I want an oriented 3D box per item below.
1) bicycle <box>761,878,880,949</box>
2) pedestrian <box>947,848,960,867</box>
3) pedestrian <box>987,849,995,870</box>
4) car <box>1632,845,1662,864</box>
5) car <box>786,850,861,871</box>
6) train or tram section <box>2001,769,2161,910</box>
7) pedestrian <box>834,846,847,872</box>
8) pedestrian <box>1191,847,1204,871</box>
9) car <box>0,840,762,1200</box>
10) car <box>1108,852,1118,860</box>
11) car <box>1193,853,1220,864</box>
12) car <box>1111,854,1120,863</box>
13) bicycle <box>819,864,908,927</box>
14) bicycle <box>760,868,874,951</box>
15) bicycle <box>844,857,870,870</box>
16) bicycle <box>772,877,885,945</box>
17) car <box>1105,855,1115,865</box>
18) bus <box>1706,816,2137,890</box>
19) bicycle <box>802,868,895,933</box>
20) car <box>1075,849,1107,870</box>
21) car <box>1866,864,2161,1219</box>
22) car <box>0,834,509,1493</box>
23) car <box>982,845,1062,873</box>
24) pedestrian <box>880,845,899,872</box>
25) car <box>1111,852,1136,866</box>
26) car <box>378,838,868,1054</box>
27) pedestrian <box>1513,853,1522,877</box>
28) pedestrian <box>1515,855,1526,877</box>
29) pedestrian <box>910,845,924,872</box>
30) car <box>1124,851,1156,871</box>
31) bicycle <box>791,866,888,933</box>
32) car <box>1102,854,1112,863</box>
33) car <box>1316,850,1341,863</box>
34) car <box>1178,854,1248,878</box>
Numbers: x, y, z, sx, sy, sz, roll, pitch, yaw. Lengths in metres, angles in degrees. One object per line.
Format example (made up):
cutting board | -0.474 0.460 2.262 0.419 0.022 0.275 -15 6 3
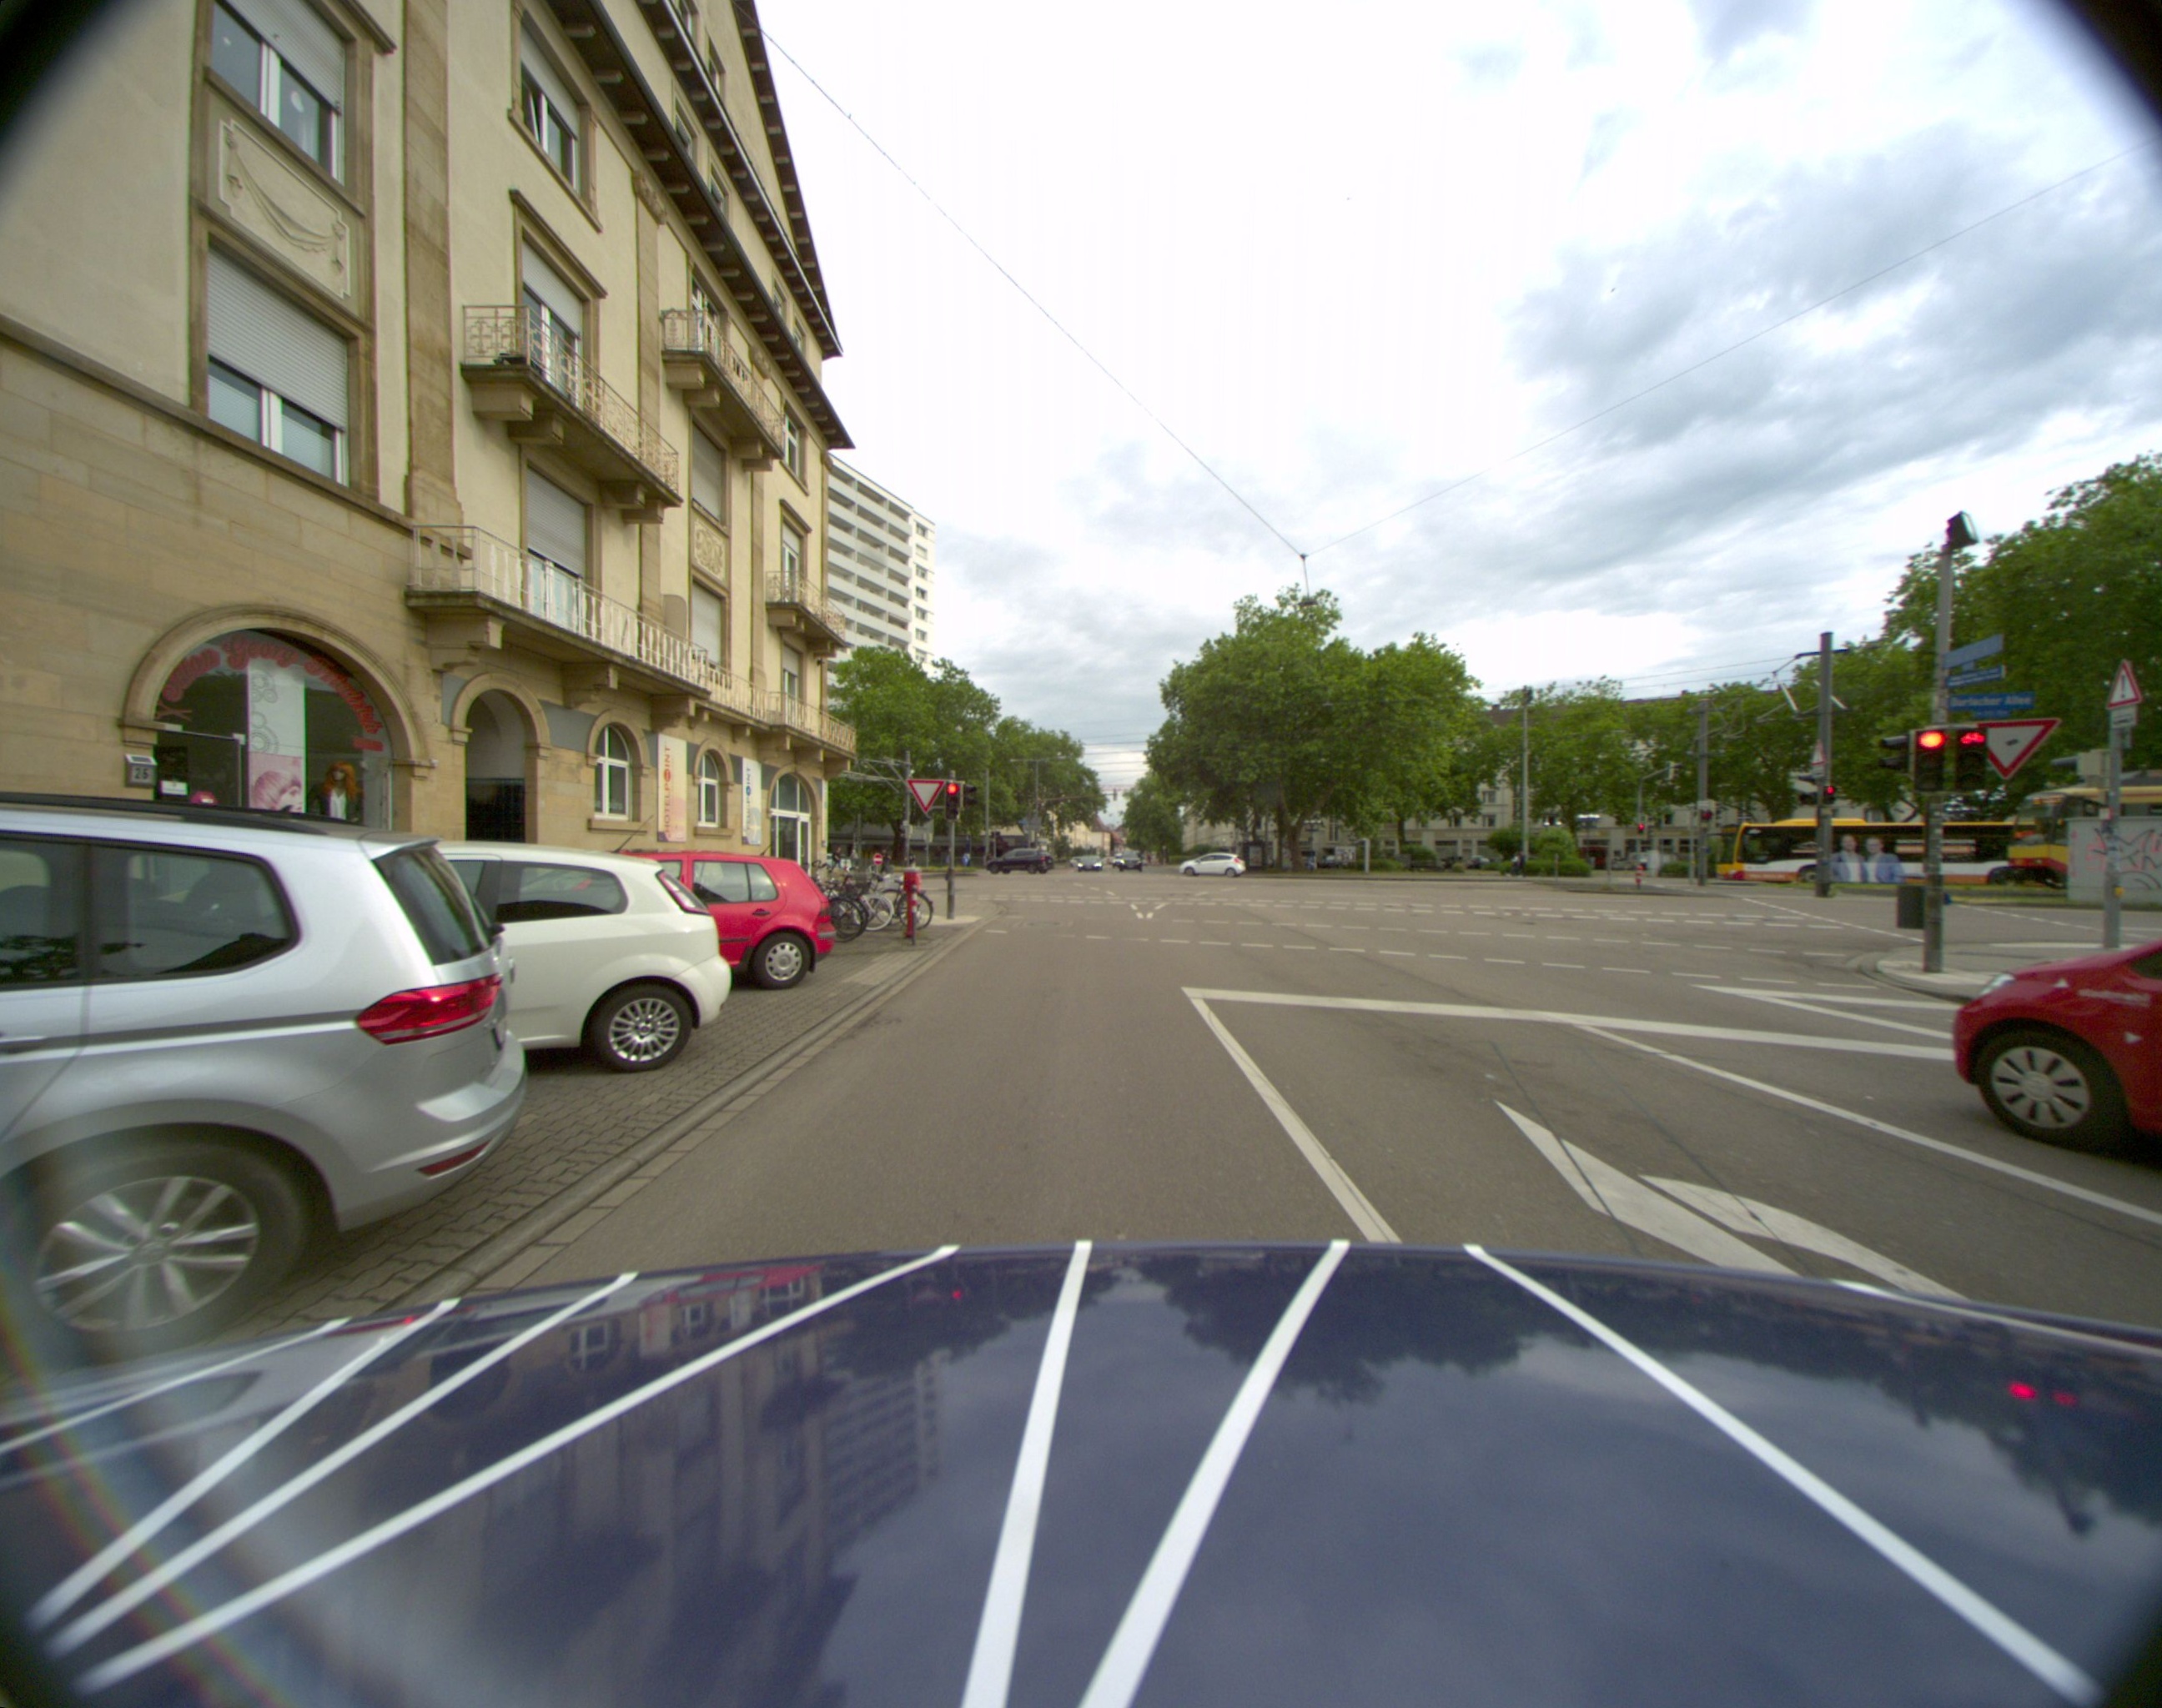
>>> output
bicycle | -4.186 0.953 12.259 1.737 1.033 0.476 2 2 0
pedestrian | -10.537 0.295 62.767 0.851 1.500 0.555 0 2 26
pedestrian | -6.911 0.430 58.368 0.524 1.603 0.526 -1 2 -7
car | 62.553 0.061 84.044 1.995 2.002 4.007 0 1 28
car | -19.677 0.486 57.990 5.688 1.516 1.850 0 -1 24
train or tram section | 37.223 -0.512 20.849 14.999 4.070 3.660 0 2 27
pedestrian | -16.332 0.311 51.638 0.547 1.741 0.623 0 2 26
pedestrian | 9.187 0.397 59.835 0.690 1.876 0.687 -2 2 -28
car | -4.236 0.763 4.873 3.596 1.500 1.843 2 1 -41
car | 8.758 0.468 208.511 1.996 2.002 4.004 -1 2 16
car | 17.353 0.591 105.243 1.804 1.477 3.991 -1 1 -24
car | 8.686 1.144 192.537 1.998 2.002 4.000 -1 2 6
bicycle | -4.224 0.795 14.793 1.571 1.121 0.476 2 2 0
bicycle | -4.064 0.847 11.742 1.571 1.166 0.476 2 2 0
bicycle | -18.177 0.770 61.657 1.987 1.058 0.731 0 -1 26
bicycle | -4.272 0.961 12.909 1.737 1.033 0.476 2 2 0
car | 6.103 1.245 160.559 1.998 2.002 3.999 -1 2 2
bus | 35.774 -0.058 33.419 12.348 2.840 3.297 0 2 26
bicycle | -4.359 0.864 14.294 1.571 1.121 0.476 2 2 0
car | 0.916 0.478 66.142 1.660 1.708 3.746 0 -2 19
car | 5.484 0.829 2.566 1.653 1.519 3.894 1 0 1
car | -4.293 0.777 2.080 4.232 1.673 1.911 1 1 -33
car | -3.958 0.341 50.720 5.136 1.773 1.710 0 2 26
pedestrian | -12.418 0.283 49.309 0.876 1.686 0.744 0 2 26
car | 5.425 0.626 95.807 1.996 1.654 4.838 0 0 17
car | -4.374 0.740 7.648 1.789 1.552 3.843 4 1 45
pedestrian | 26.281 0.650 45.738 0.373 1.470 0.362 0 1 19
pedestrian | 26.225 0.727 45.336 0.469 1.318 0.457 0 1 19
pedestrian | -10.766 0.299 49.862 0.626 1.740 0.657 0 2 27
car | 5.111 0.626 65.392 1.908 1.708 3.746 0 -2 19
bicycle | -4.364 0.812 13.776 1.571 1.121 0.476 2 2 0
car | 6.176 1.072 180.013 1.998 1.790 4.000 -1 2 6
car | 28.429 0.282 87.527 1.997 1.381 4.835 0 0 9
car | 8.027 0.707 46.310 3.880 1.390 1.710 0 2 26
